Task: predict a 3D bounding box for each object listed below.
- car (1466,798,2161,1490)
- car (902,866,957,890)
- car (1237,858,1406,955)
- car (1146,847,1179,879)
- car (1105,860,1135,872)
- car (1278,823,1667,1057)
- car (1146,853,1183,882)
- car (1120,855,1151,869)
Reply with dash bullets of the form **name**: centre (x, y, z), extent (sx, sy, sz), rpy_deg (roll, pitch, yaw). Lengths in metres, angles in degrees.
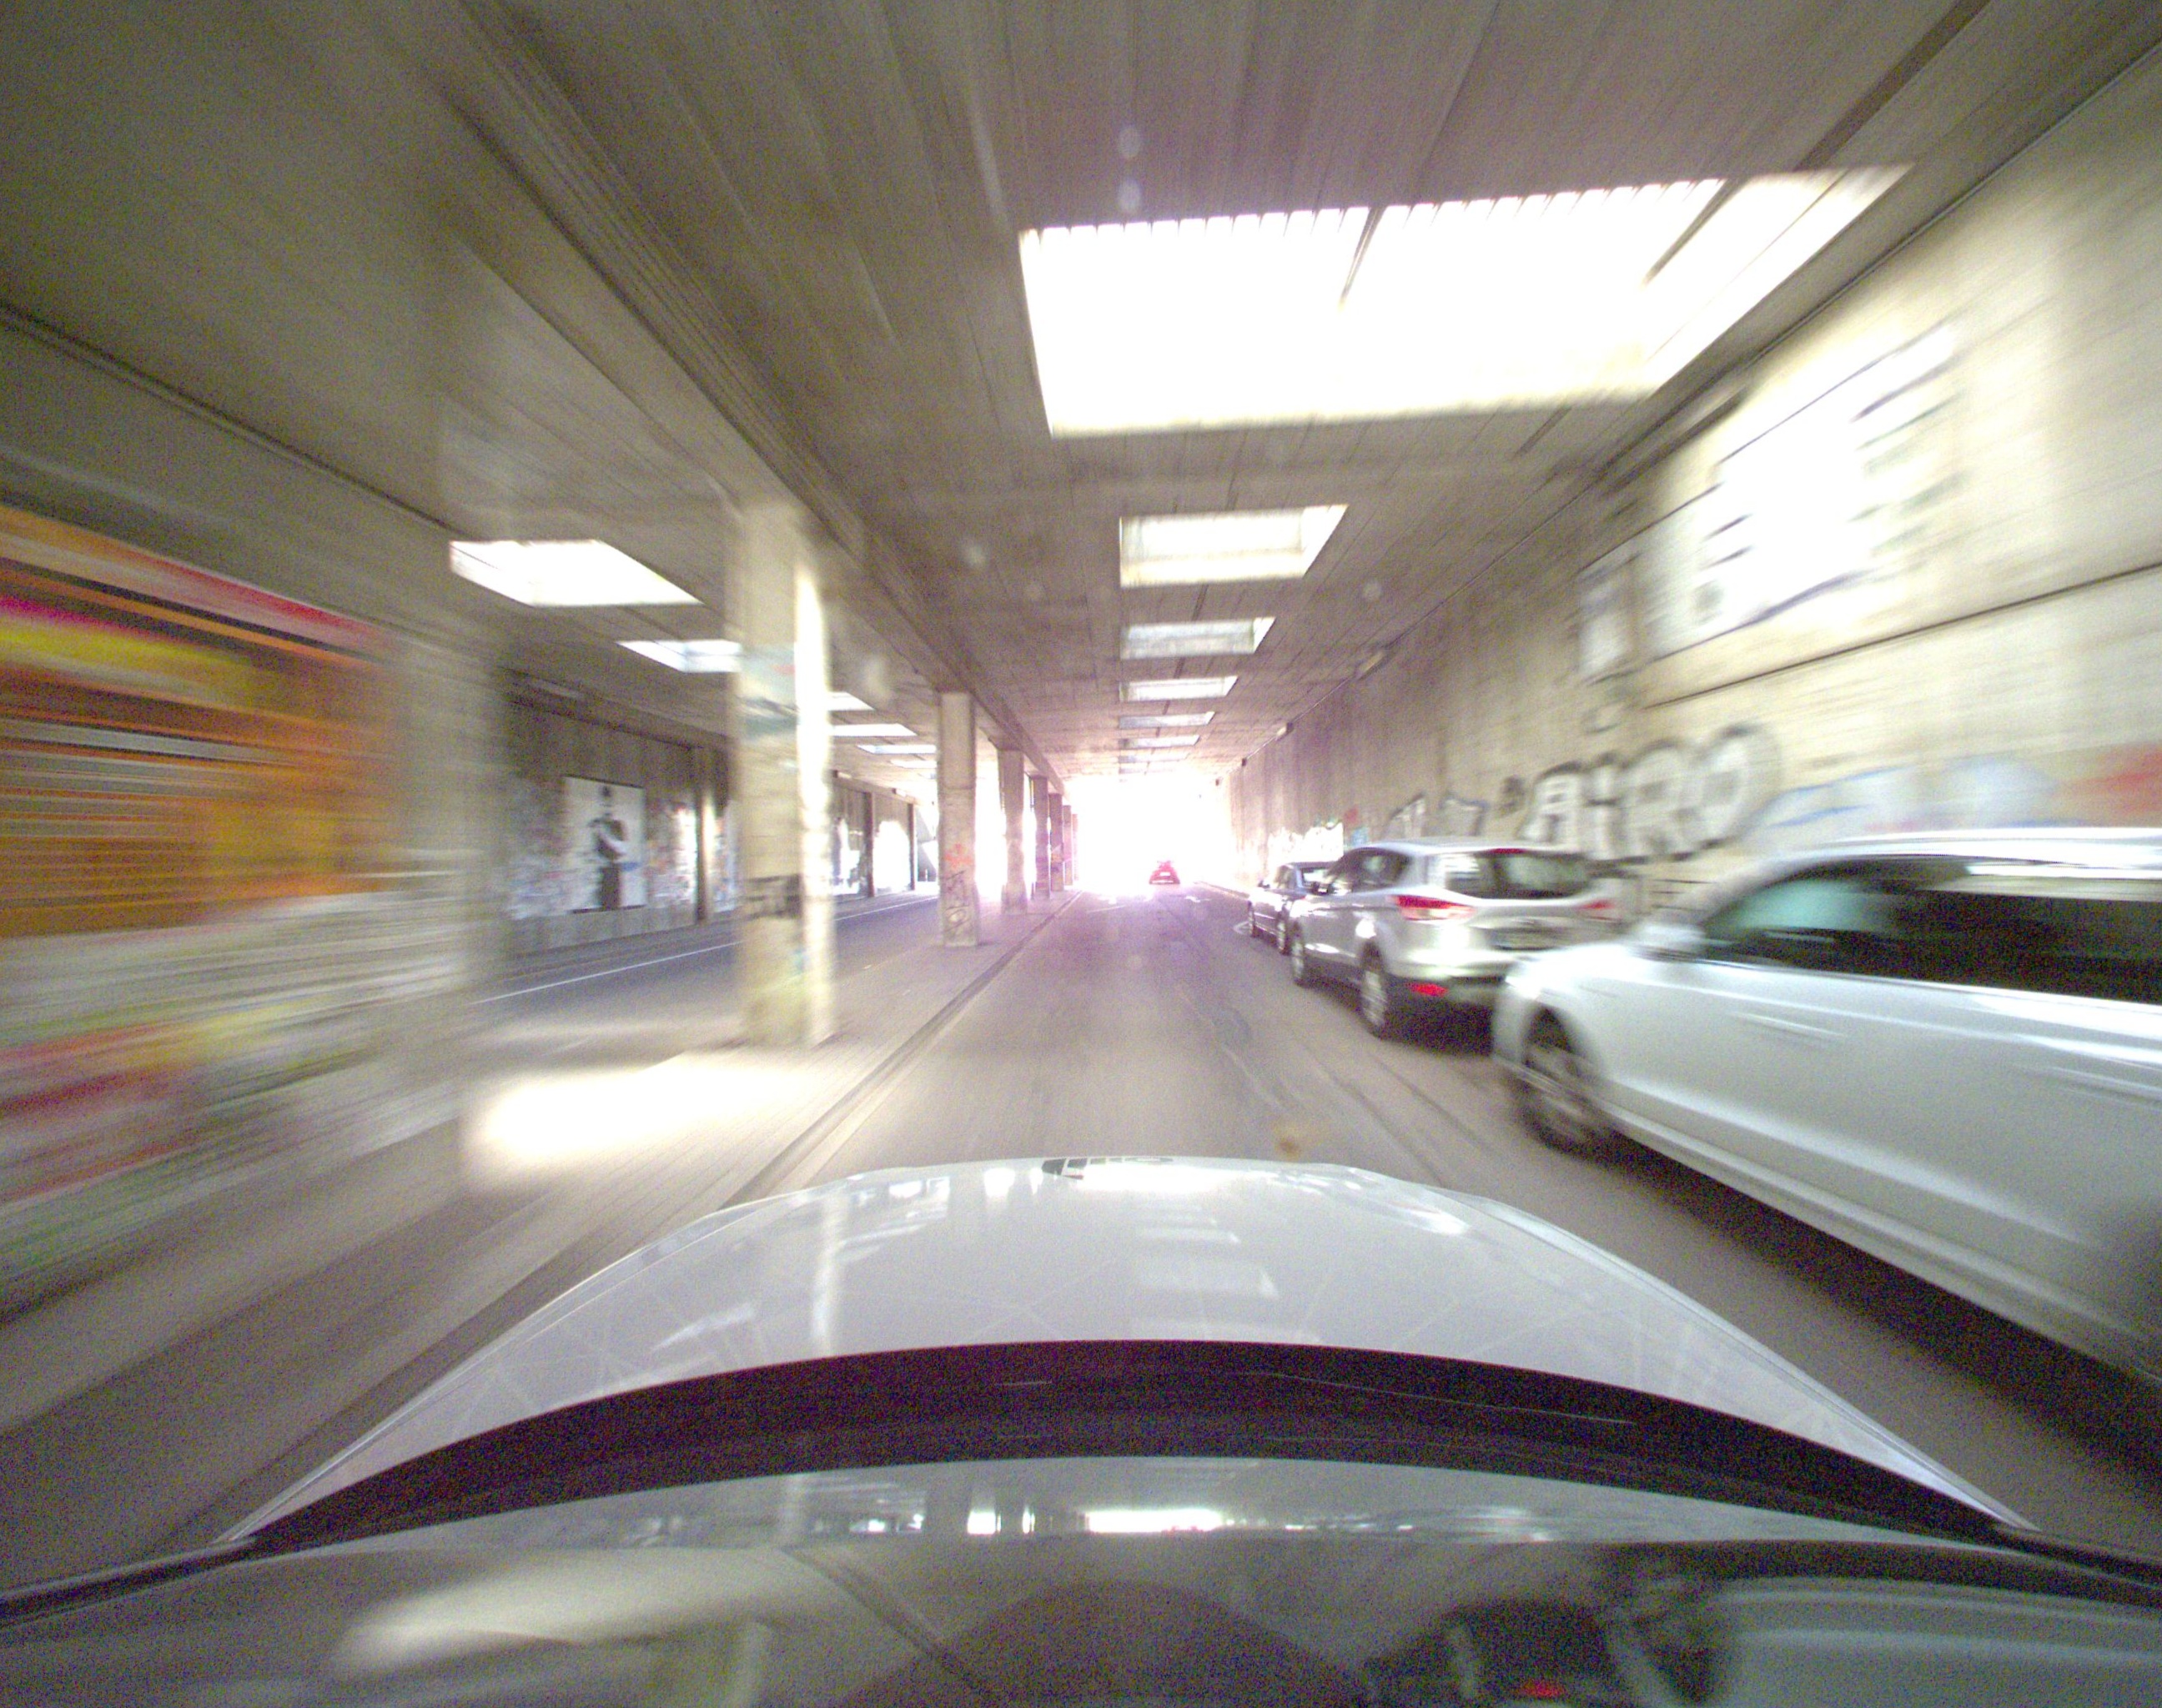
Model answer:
- **car**: centre (3.247, 0.642, 2.874), extent (1.724, 1.546, 4.154), rpy_deg (-2, -1, -1)
- **car**: centre (-13.748, 2.152, 73.982), extent (4.462, 2.013, 2.002), rpy_deg (-1, 2, 2)
- **car**: centre (3.889, 0.768, 13.934), extent (1.695, 1.374, 4.375), rpy_deg (-1, 0, 2)
- **car**: centre (5.212, 0.575, 52.657), extent (1.808, 1.882, 4.588), rpy_deg (-2, 0, 2)
- **car**: centre (5.247, 1.620, 109.041), extent (3.966, 1.574, 1.643), rpy_deg (-1, -1, 6)
- **car**: centre (3.352, 0.611, 8.060), extent (1.846, 1.666, 4.373), rpy_deg (-1, 0, 2)
- **car**: centre (4.699, 0.739, 46.225), extent (1.818, 1.501, 4.214), rpy_deg (-2, 0, 3)
- **car**: centre (7.607, 1.078, 113.237), extent (4.126, 1.739, 2.005), rpy_deg (-2, 0, 9)
